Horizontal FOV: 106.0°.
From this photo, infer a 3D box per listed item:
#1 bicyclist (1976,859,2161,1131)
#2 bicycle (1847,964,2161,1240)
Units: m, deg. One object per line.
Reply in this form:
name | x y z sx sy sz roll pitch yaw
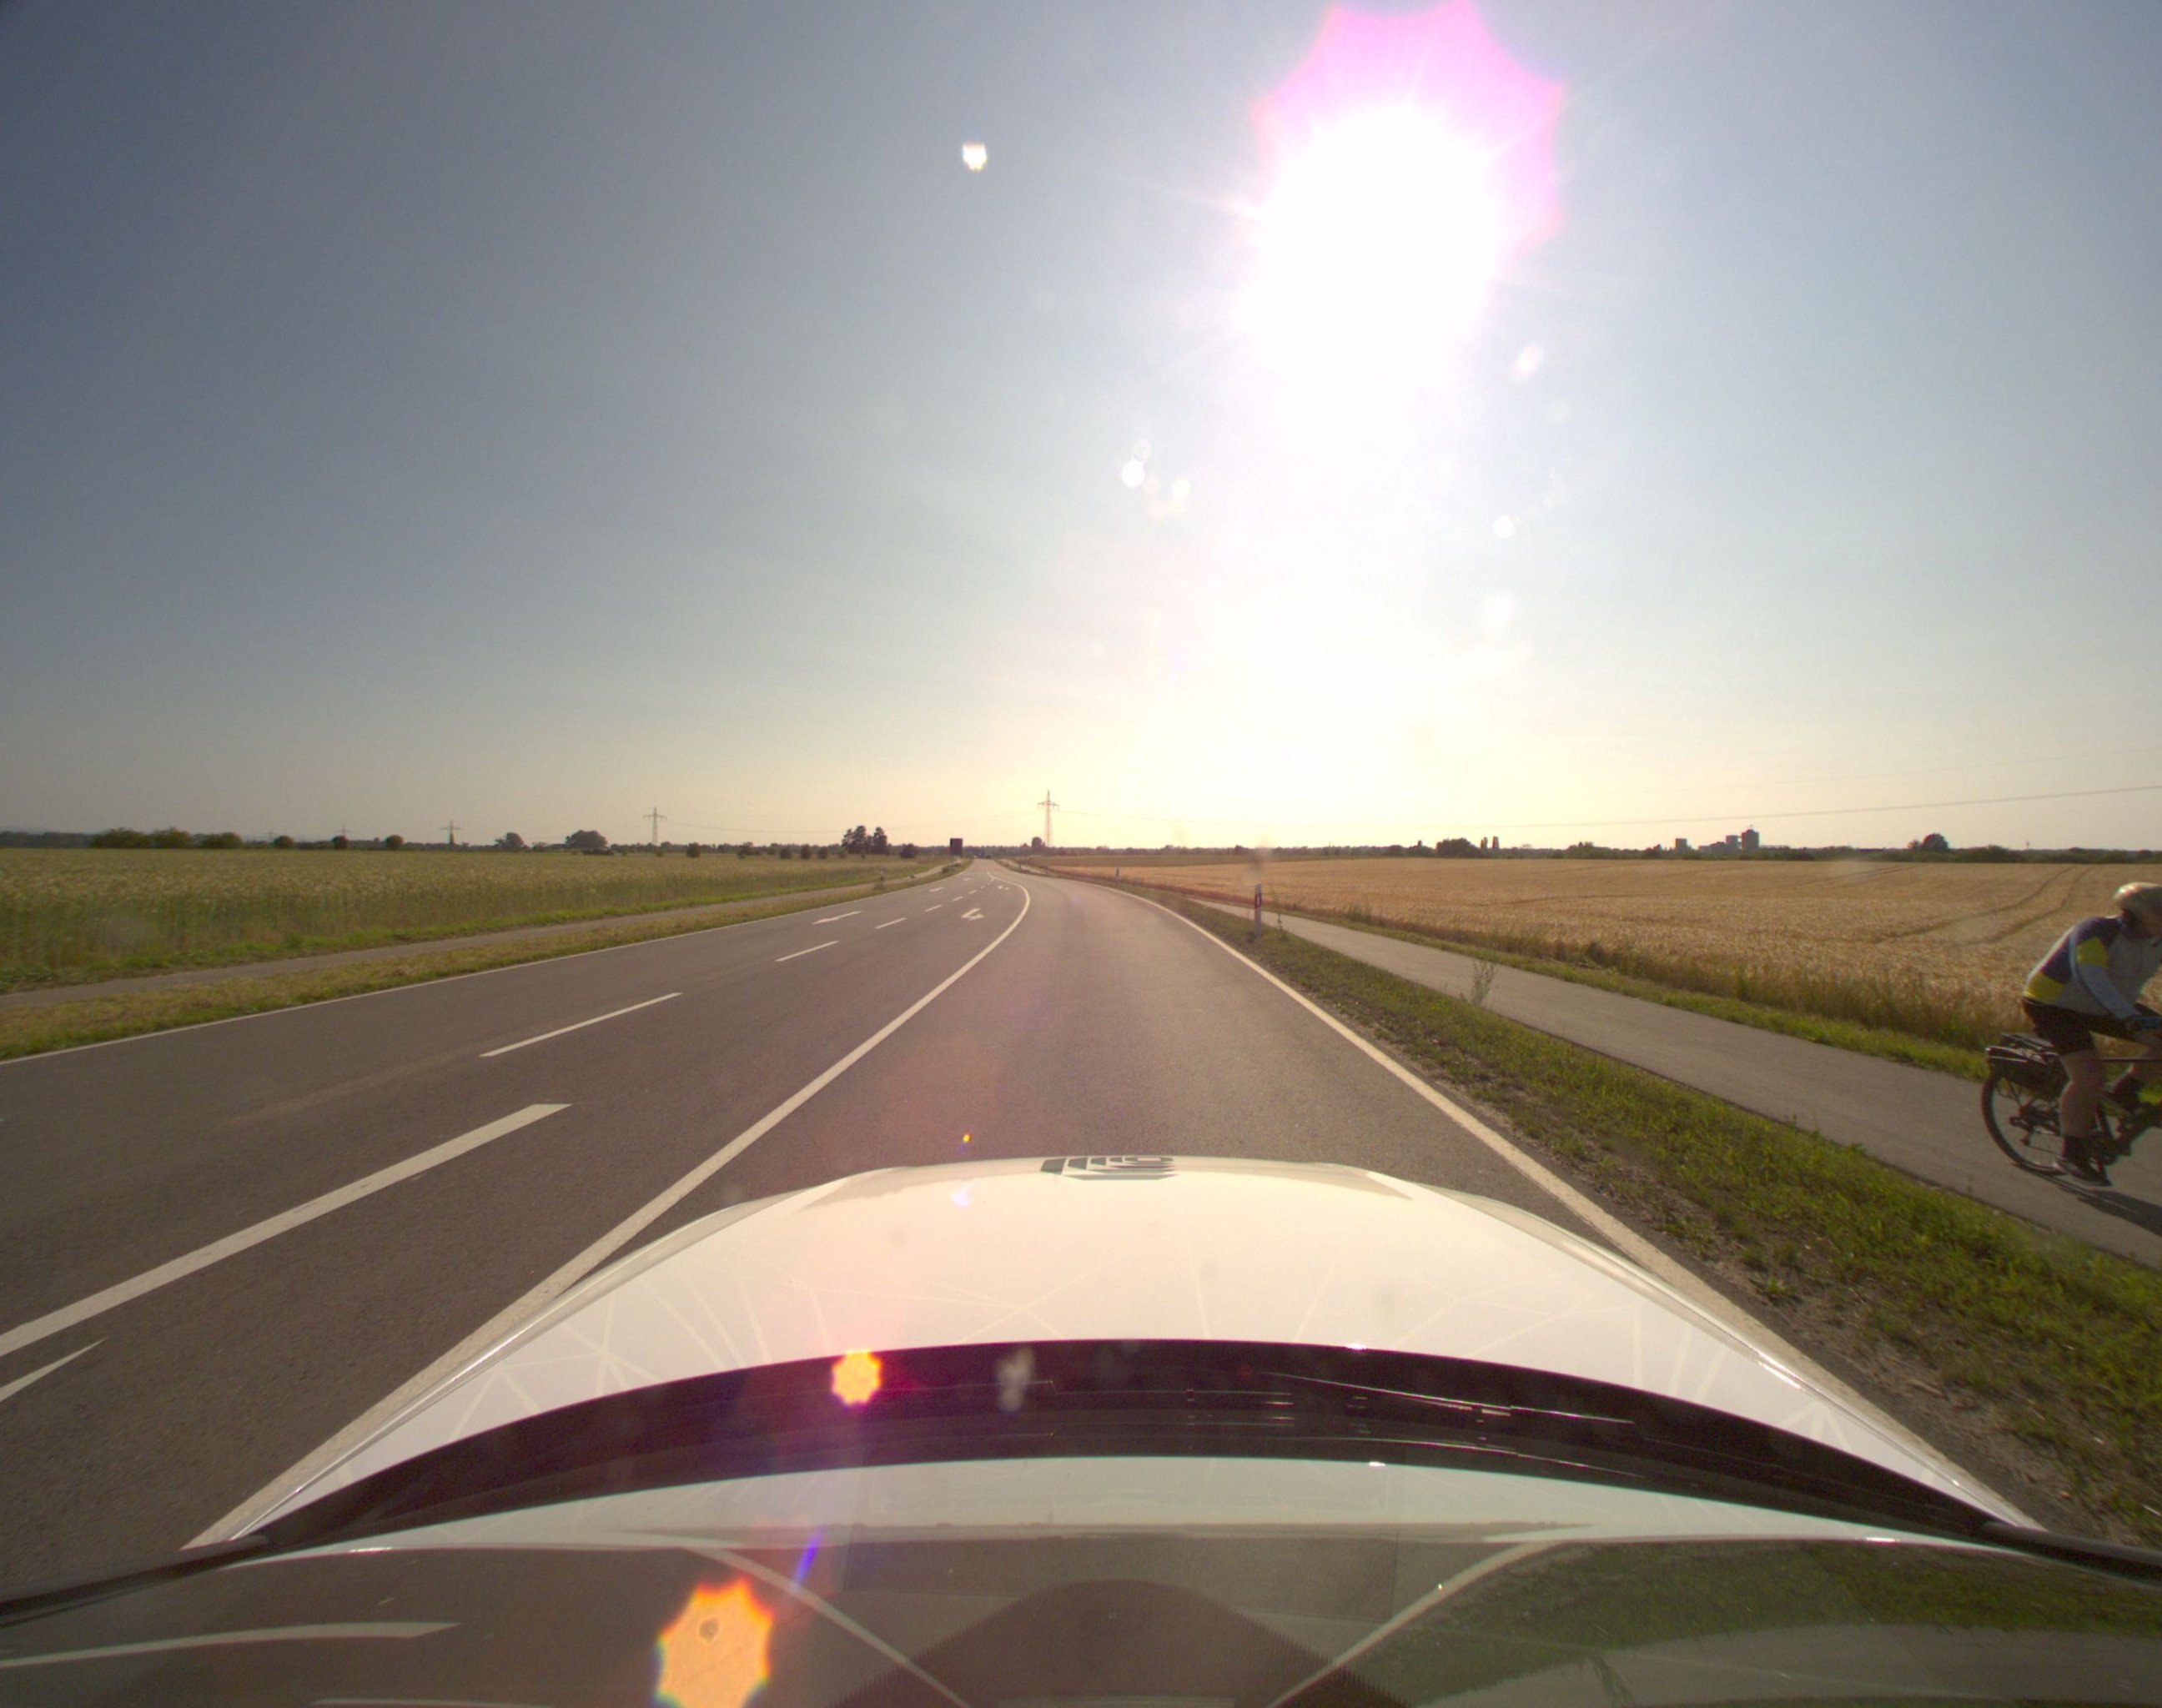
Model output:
bicyclist | 6.006 0.770 4.779 0.634 1.457 0.819 2 -1 9
bicycle | 5.996 1.392 4.952 0.840 1.142 2.212 2 -1 9
